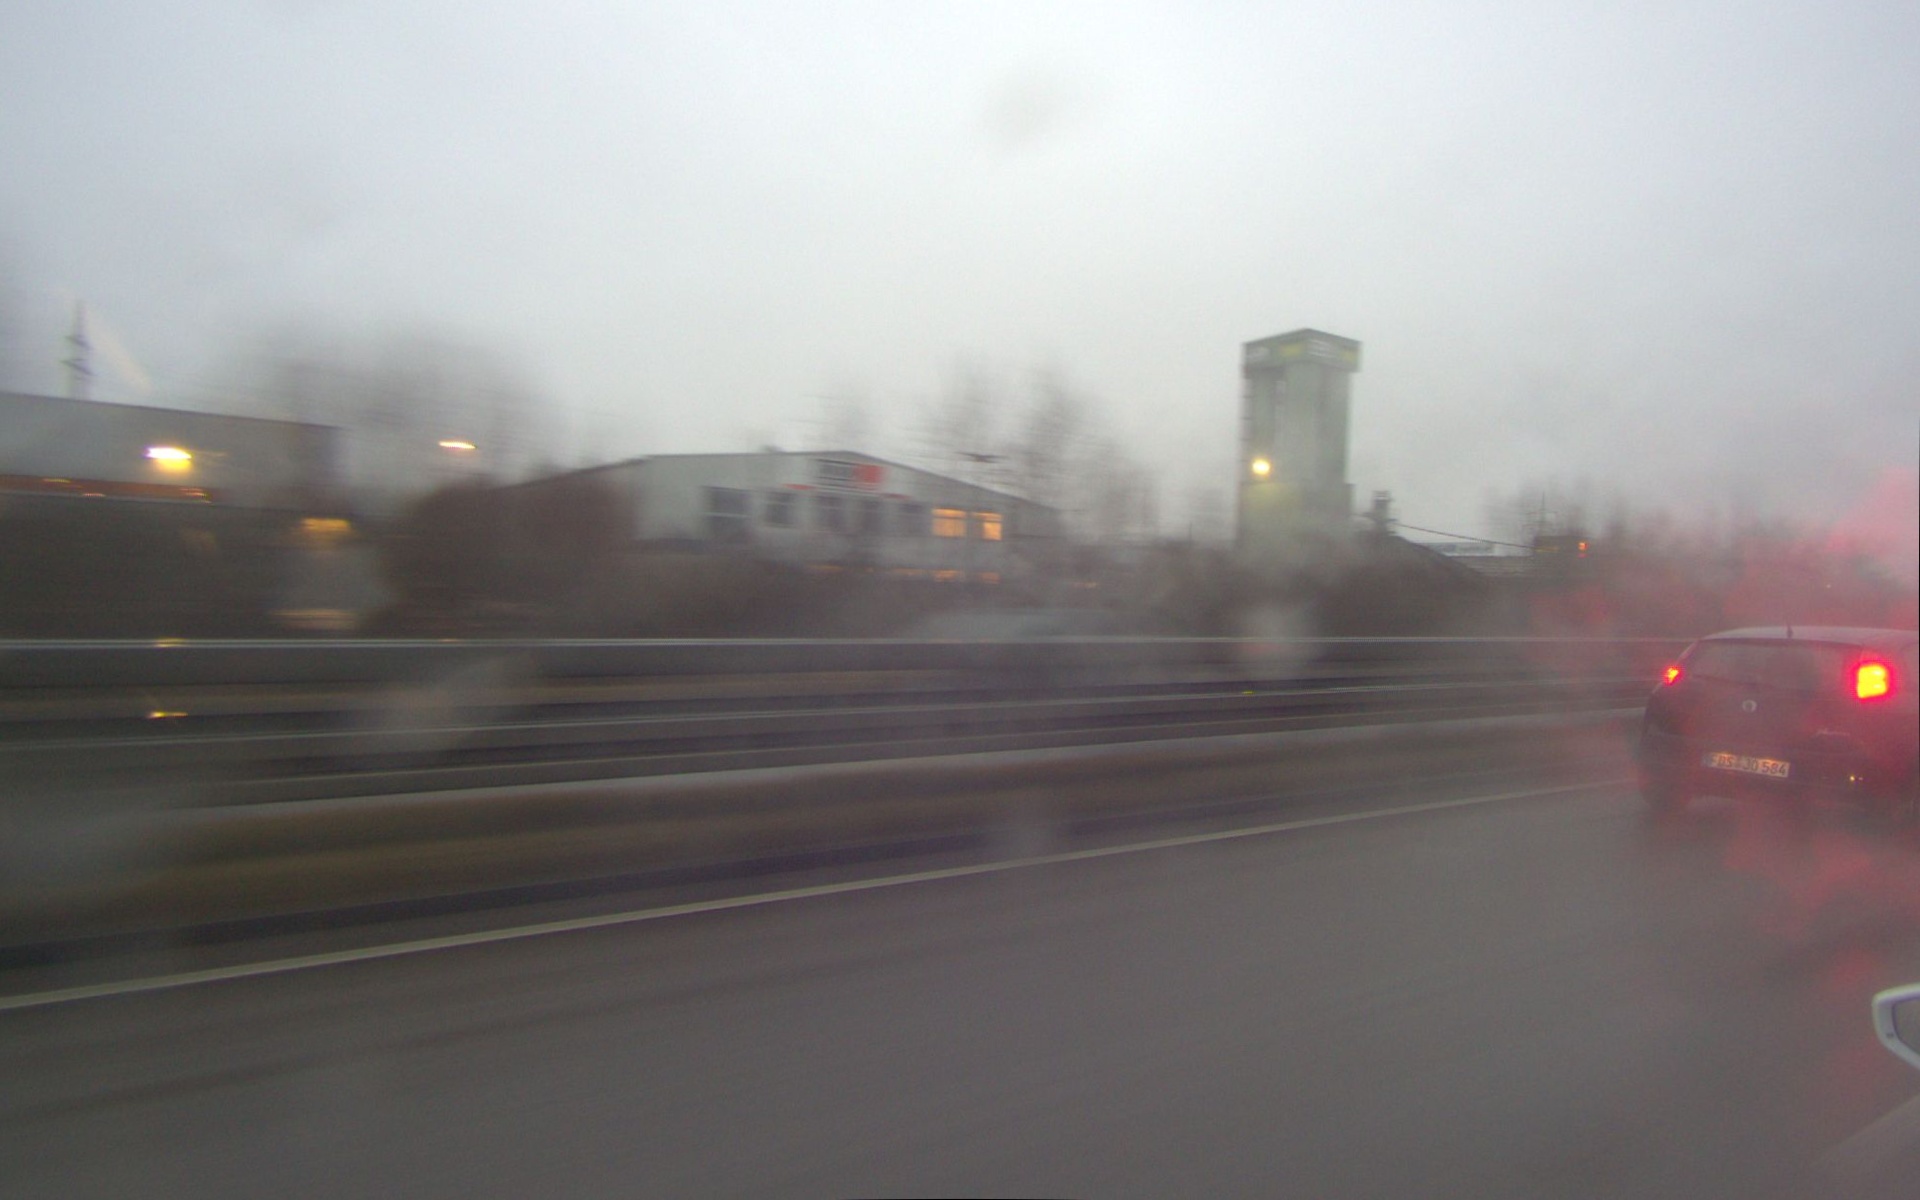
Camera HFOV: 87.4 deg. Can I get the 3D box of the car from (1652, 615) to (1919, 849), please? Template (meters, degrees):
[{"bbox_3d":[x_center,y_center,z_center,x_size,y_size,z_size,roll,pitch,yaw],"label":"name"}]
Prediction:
[{"bbox_3d":[7.438,0.913,8.030,3.954,1.410,1.617,2,1,-31],"label":"car"}]

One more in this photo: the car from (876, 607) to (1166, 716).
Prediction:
[{"bbox_3d":[1.002,0.910,15.742,4.314,1.495,1.695,2,-1,-30],"label":"car"}]
